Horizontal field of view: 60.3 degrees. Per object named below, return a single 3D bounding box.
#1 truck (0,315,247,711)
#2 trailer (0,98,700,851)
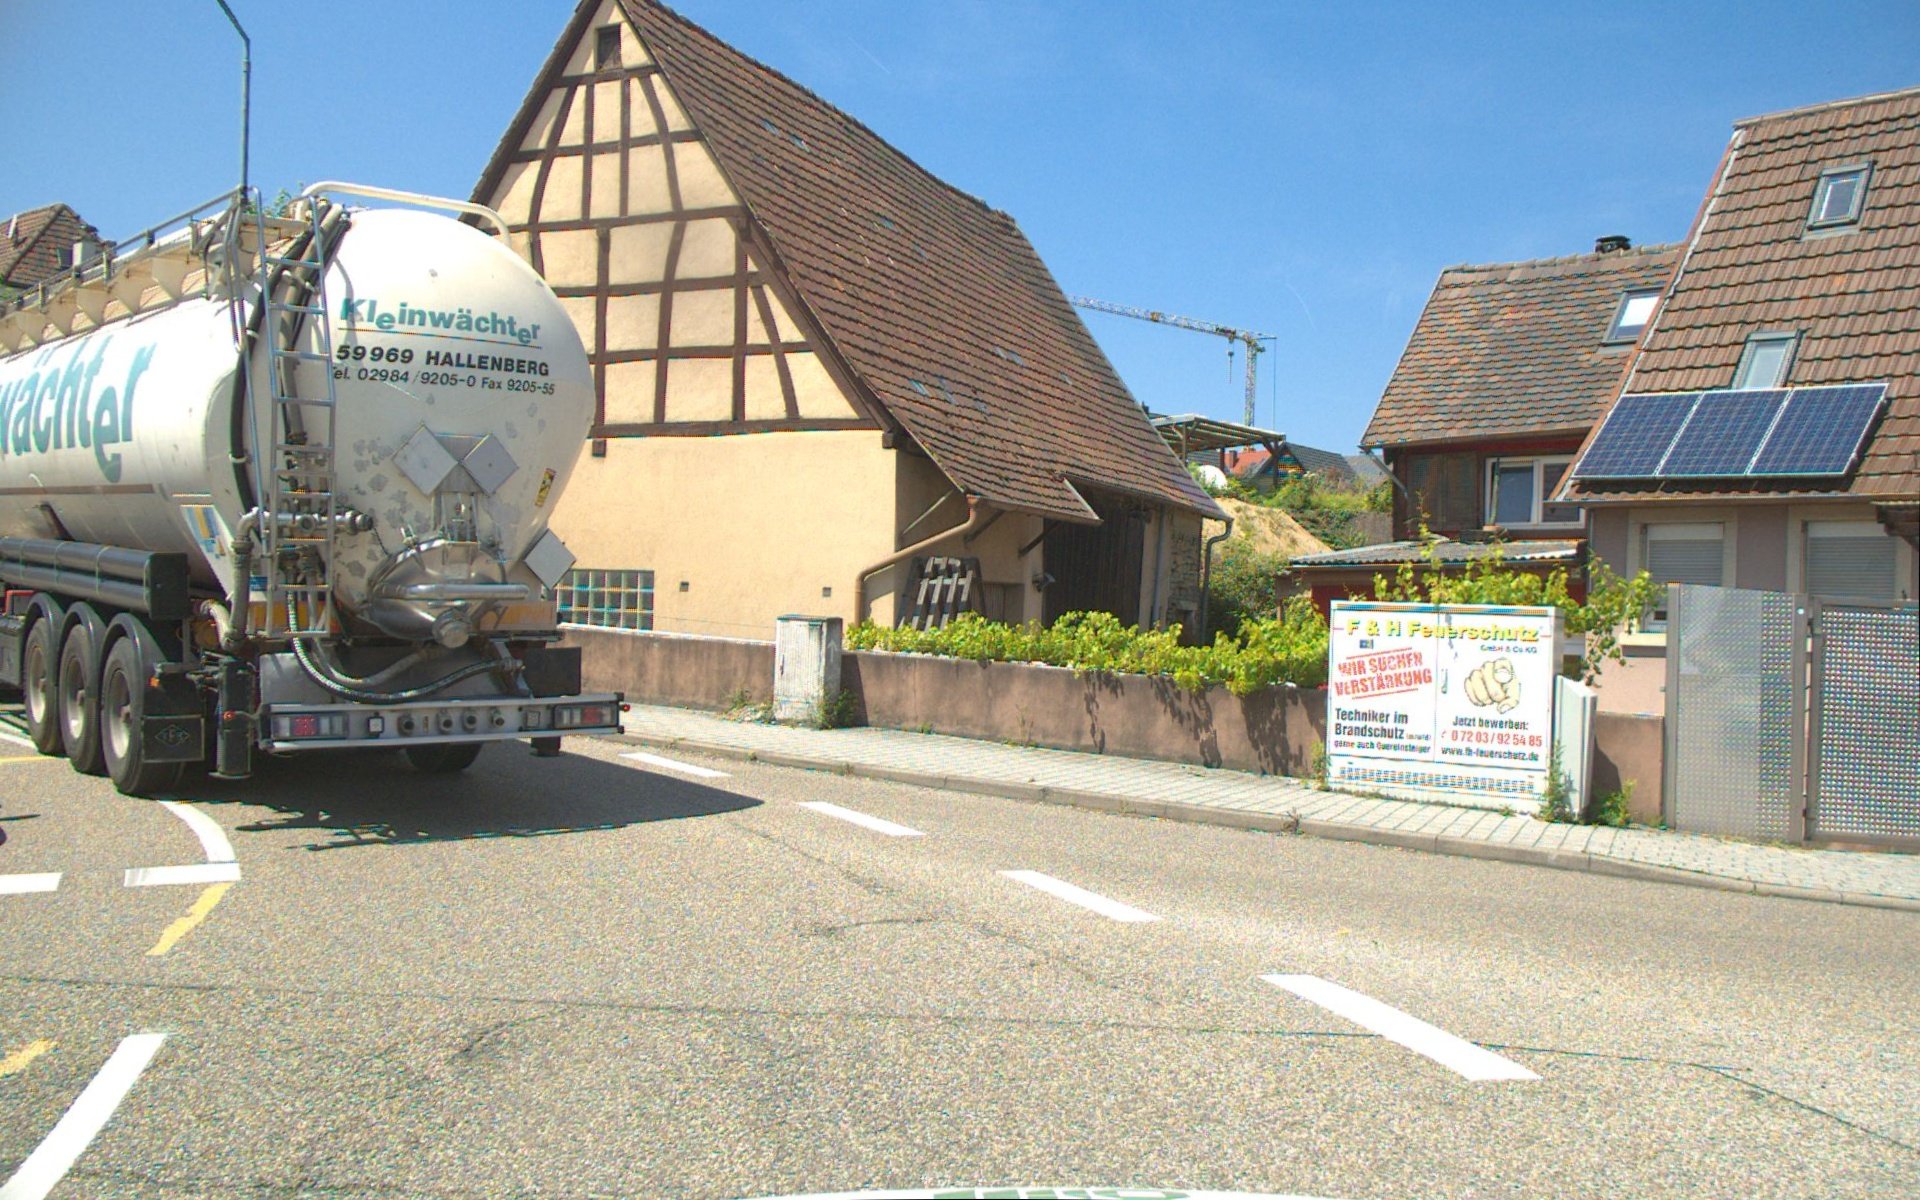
[{"bbox_3d":[-11.273,-0.954,19.436,5.474,4.034,2.983,3,0,39],"label":"truck"},{"bbox_3d":[-6.489,-0.788,14.210,2.933,4.016,11.455,3,0,-39],"label":"trailer"}]
